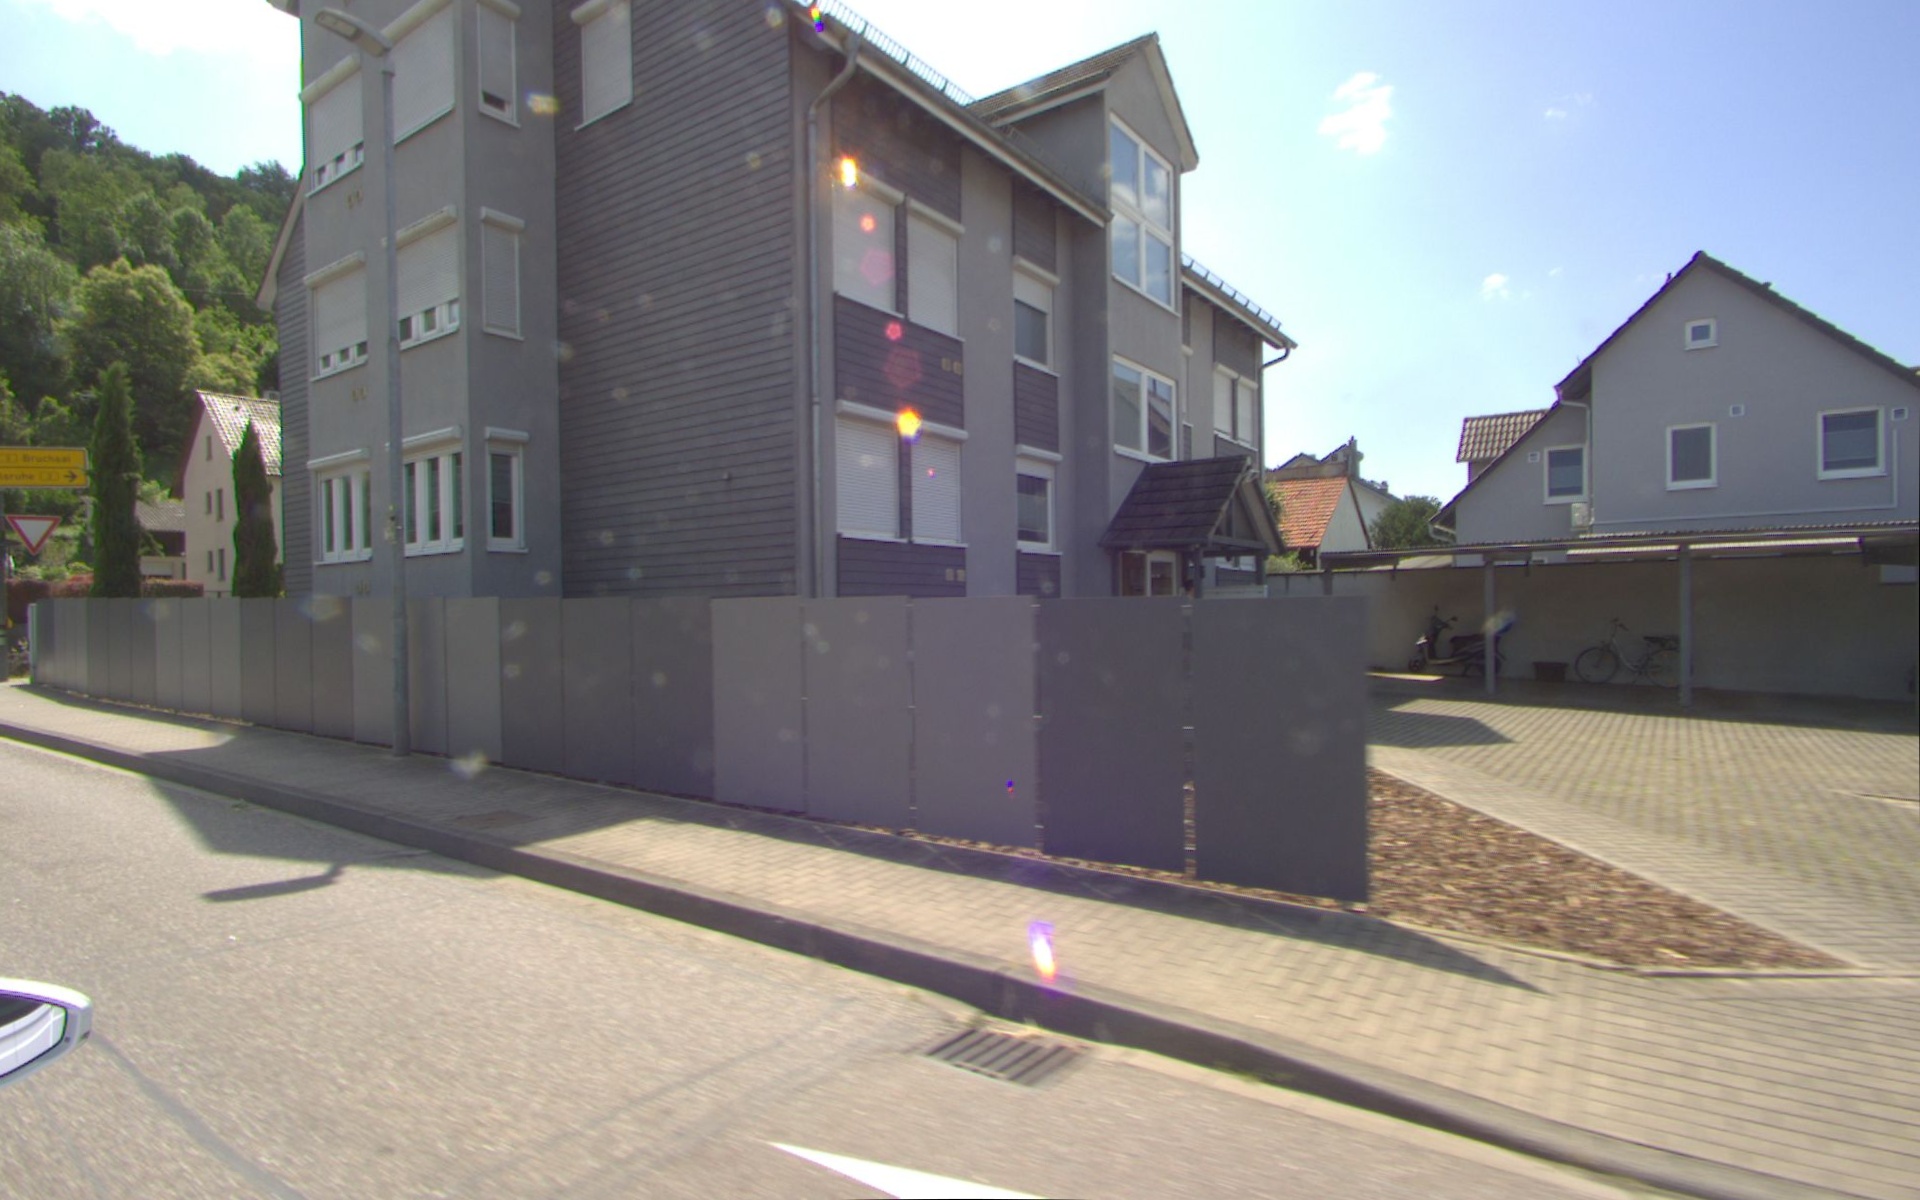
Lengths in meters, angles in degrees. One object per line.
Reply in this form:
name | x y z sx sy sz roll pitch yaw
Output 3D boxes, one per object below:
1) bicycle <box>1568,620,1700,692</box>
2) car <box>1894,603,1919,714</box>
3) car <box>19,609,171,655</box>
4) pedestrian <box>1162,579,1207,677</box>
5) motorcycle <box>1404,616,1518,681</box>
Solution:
bicycle | 12.248 0.993 18.233 1.926 1.188 0.645 2 1 37
car | 16.027 0.899 14.195 3.800 1.609 1.731 2 2 35
car | -28.560 1.067 33.132 1.625 1.379 3.595 -4 -4 38
pedestrian | 3.626 0.455 16.181 0.475 1.549 0.533 0 0 -24
motorcycle | 9.908 0.934 19.843 1.926 1.179 0.645 2 1 37
